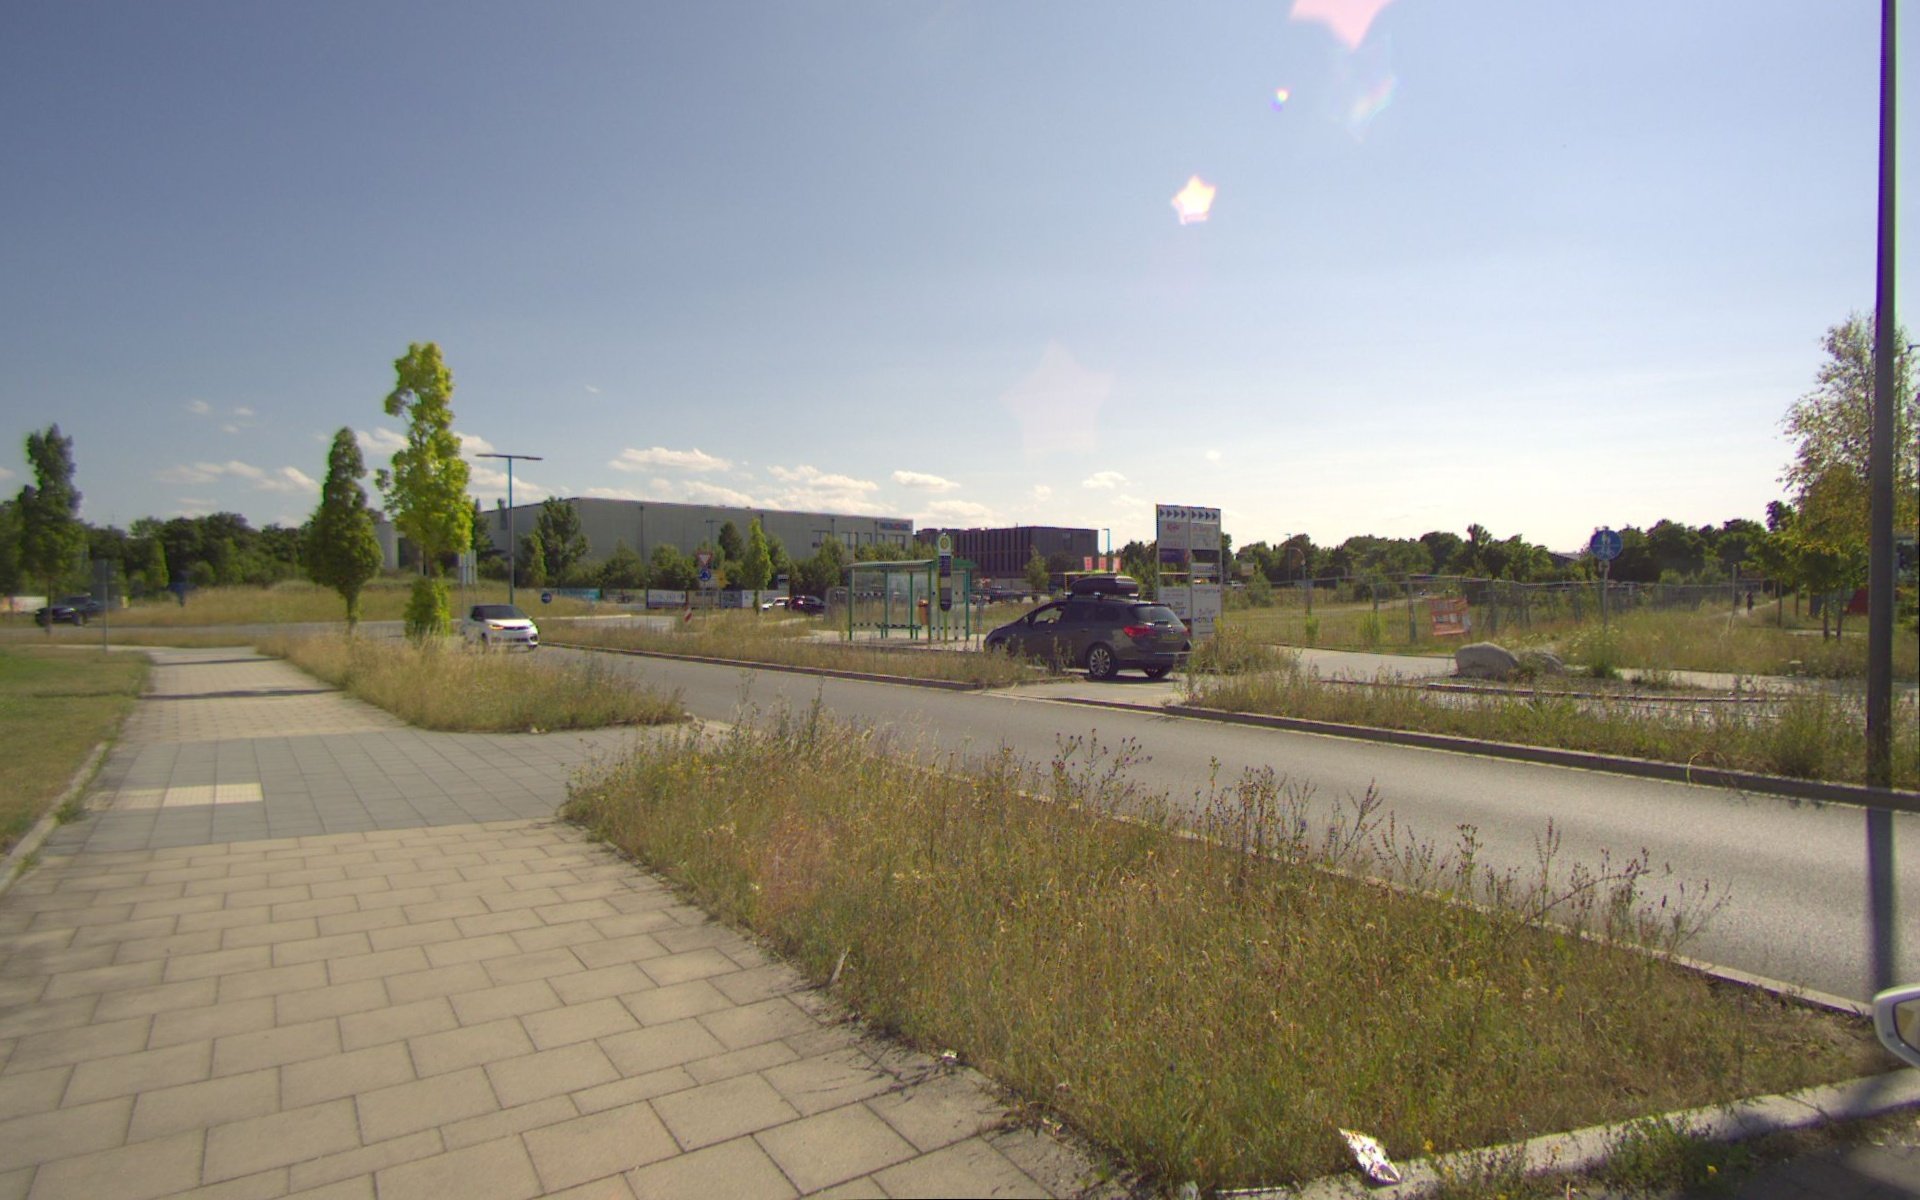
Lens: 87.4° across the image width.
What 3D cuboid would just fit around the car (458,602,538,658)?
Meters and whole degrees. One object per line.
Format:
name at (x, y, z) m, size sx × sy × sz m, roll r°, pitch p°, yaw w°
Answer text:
car at (-14.160, 0.876, 30.741) m, size 1.467 × 1.510 × 2.966 m, roll -3°, pitch 3°, yaw -39°

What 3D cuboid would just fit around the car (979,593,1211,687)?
car at (2.496, 0.679, 19.335) m, size 1.985 × 1.537 × 4.145 m, roll 0°, pitch 1°, yaw -42°

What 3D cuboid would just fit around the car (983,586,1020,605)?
car at (4.285, -0.430, 103.946) m, size 1.800 × 1.885 × 3.983 m, roll 1°, pitch 1°, yaw 38°

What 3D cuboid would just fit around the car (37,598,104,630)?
car at (-47.648, 0.699, 53.897) m, size 1.820 × 1.595 × 3.969 m, roll -2°, pitch 1°, yaw -29°

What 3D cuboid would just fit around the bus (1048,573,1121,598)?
bus at (14.493, -1.710, 116.183) m, size 2.541 × 2.772 × 11.512 m, roll 1°, pitch 2°, yaw 40°

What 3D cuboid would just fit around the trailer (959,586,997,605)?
trailer at (1.829, -0.434, 100.870) m, size 1.800 × 1.885 × 3.983 m, roll 1°, pitch 1°, yaw 38°
